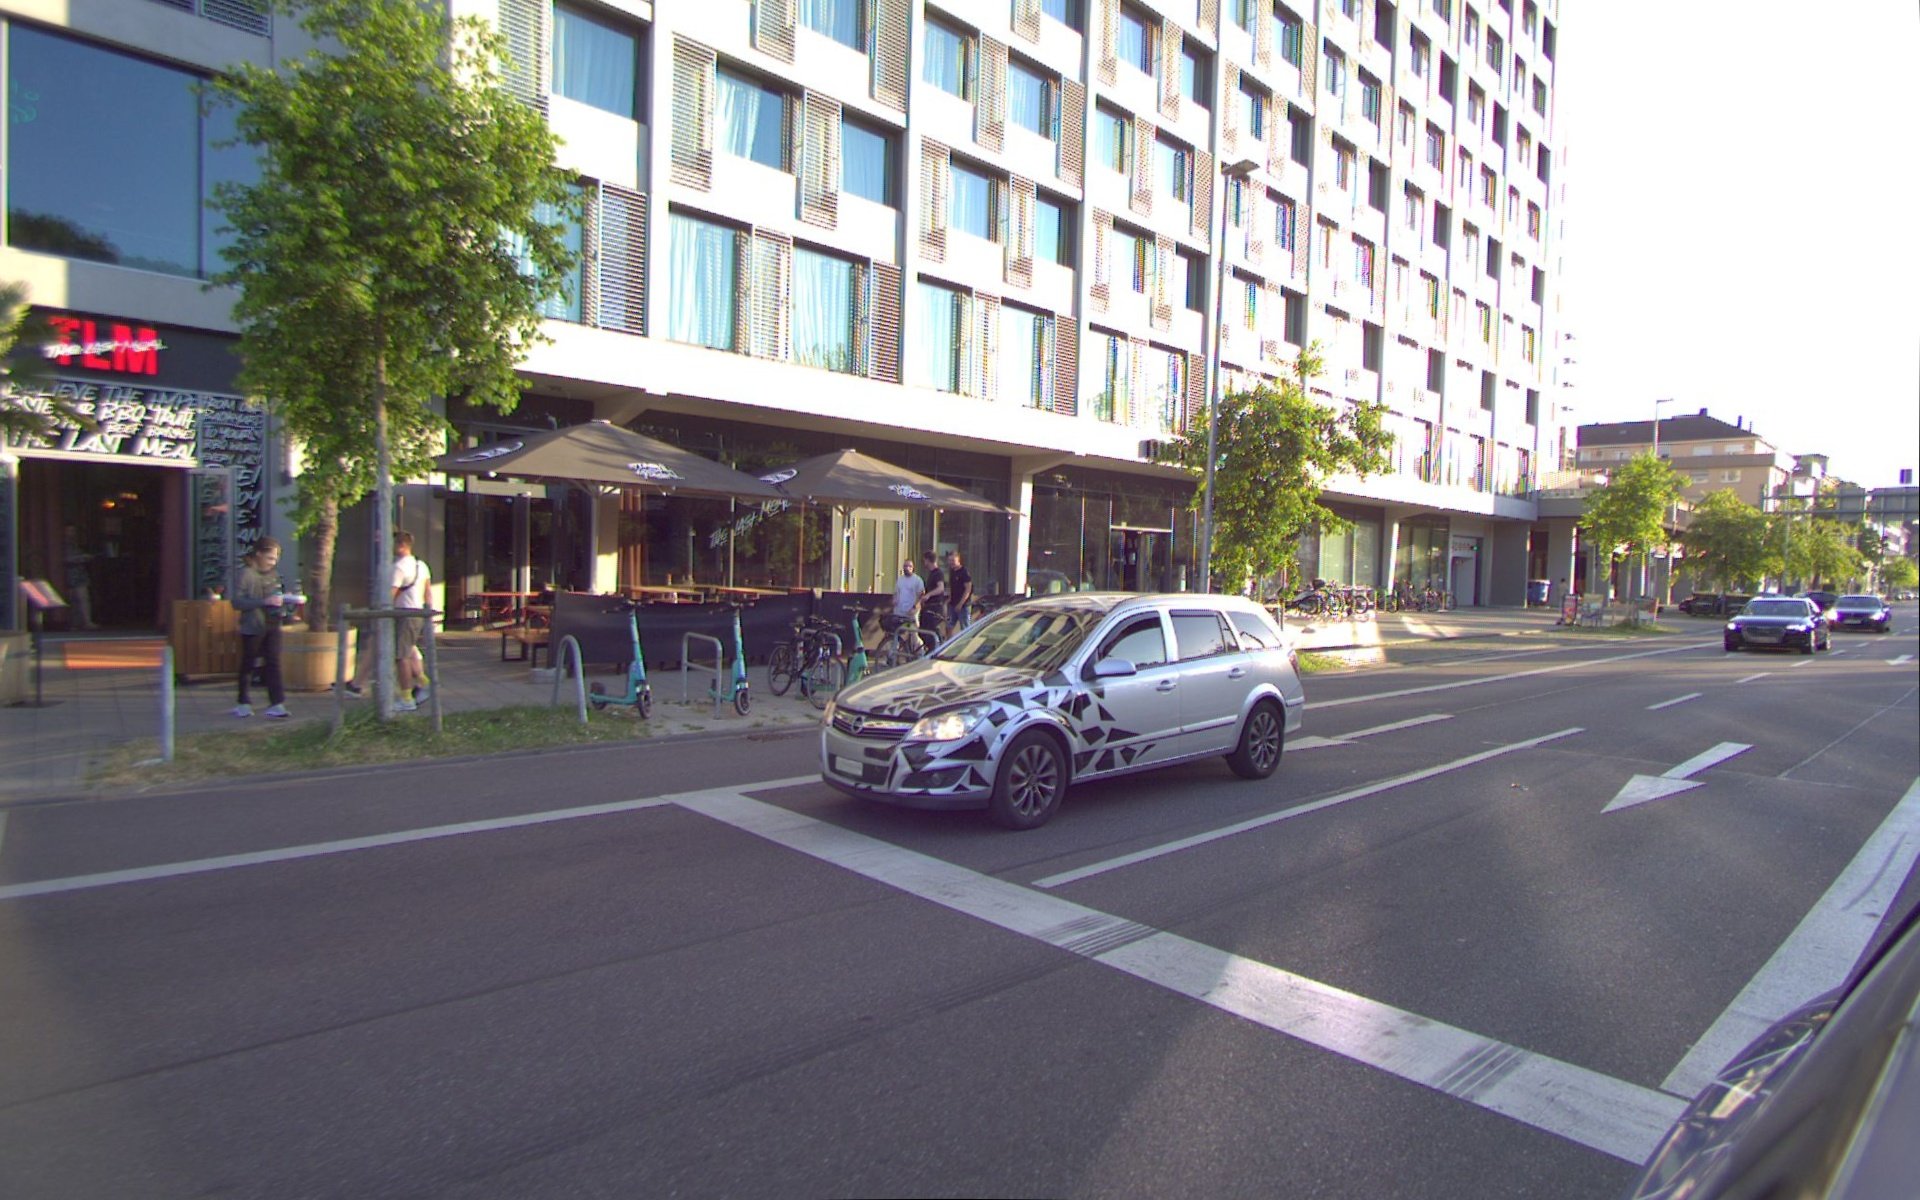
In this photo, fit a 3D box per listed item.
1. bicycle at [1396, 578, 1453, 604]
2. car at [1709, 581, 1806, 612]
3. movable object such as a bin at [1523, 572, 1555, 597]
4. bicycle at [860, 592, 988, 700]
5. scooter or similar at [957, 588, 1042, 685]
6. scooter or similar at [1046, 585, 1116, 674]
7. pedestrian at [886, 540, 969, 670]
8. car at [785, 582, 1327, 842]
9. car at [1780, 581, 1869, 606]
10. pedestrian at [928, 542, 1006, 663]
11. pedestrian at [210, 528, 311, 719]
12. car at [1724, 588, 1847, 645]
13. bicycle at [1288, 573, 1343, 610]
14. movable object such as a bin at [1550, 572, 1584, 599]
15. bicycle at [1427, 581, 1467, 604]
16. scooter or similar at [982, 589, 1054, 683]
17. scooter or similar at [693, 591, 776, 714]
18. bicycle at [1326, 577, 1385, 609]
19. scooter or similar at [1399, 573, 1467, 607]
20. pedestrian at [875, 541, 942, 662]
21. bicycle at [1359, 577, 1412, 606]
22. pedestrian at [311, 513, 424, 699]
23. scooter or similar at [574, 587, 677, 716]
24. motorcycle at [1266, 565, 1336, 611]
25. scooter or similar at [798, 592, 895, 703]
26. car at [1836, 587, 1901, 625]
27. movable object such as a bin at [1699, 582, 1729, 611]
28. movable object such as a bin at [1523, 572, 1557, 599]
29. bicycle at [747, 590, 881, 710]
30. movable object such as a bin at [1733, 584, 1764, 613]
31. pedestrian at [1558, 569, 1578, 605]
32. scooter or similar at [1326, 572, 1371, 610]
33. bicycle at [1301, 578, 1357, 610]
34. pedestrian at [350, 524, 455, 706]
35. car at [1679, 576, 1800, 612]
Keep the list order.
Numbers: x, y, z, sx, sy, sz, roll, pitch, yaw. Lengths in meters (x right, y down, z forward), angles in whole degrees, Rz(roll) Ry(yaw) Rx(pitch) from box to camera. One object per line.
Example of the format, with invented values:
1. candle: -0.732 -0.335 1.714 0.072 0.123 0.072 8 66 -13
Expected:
1. bicycle: 19.428 -0.385 42.361 2.015 0.969 0.611 5 4 41
2. car: 45.889 -0.221 58.331 3.926 1.433 1.748 4 4 9
3. movable object such as a bin: 31.962 -0.866 55.887 1.283 1.315 1.183 0 3 -44
4. bicycle: -0.507 0.563 13.430 0.598 1.196 1.850 0 5 -43
5. scooter or similar: 0.532 0.483 14.053 0.501 1.205 1.159 -2 6 -40
6. scooter or similar: 1.868 0.440 15.776 0.524 1.232 1.300 1 4 -19
7. pedestrian: -0.494 0.053 15.316 0.922 1.870 0.747 0 5 -34
8. car: 0.940 0.619 7.871 4.229 1.482 1.831 0 1 -42
9. car: 62.109 -0.457 72.754 4.528 1.470 1.811 3 3 7
10. pedestrian: 0.105 0.028 16.251 0.922 1.846 0.759 0 4 -34
11. pedestrian: -6.720 0.192 9.717 0.852 1.724 0.569 4 3 39
12. car: 22.028 0.391 26.953 4.203 1.413 1.913 0 1 -42
13. bicycle: 12.207 -0.308 34.777 1.602 1.168 0.604 5 4 35
14. movable object such as a bin: 32.963 -0.773 54.950 1.246 1.338 1.183 0 5 -44
15. bicycle: 20.742 -0.322 43.129 0.449 0.902 1.423 0 3 -43
16. scooter or similar: 0.831 0.500 14.816 0.521 1.228 1.134 -1 5 -27
17. scooter or similar: -2.546 0.556 11.364 0.539 1.238 1.066 1 4 -33
18. bicycle: 14.340 -0.275 36.769 0.556 1.021 1.888 0 5 -44
19. scooter or similar: 18.950 -0.409 40.578 0.610 1.197 2.376 0 4 -43
20. pedestrian: -0.814 0.011 15.962 0.762 1.833 0.621 0 5 -34
21. bicycle: 16.194 -0.328 38.544 1.701 0.998 0.542 6 4 44
22. pedestrian: -6.426 0.027 10.980 0.824 1.910 0.853 5 5 42
23. scooter or similar: -3.571 0.515 10.778 1.052 1.238 0.589 6 4 43
24. motorcycle: 11.518 -0.412 34.223 2.104 1.403 0.664 5 3 34
25. scooter or similar: -1.407 0.549 12.459 1.210 1.216 0.473 6 4 43
26. car: 36.030 0.209 40.108 1.858 1.413 4.210 1 1 43
27. movable object such as a bin: 37.707 -0.173 50.600 1.014 1.363 1.143 7 4 42
28. movable object such as a bin: 29.787 -0.745 51.964 1.262 1.345 1.106 0 4 -44
29. bicycle: -1.784 0.558 12.178 1.794 1.208 0.559 6 4 43
30. movable object such as a bin: 38.720 -0.092 49.697 1.084 1.317 1.341 6 4 40
31. pedestrian: 28.829 -0.613 47.986 0.576 1.638 0.633 6 4 44
32. scooter or similar: 13.601 -0.317 35.449 1.268 1.248 0.599 6 4 43
33. bicycle: 12.865 -0.212 35.326 1.701 0.998 0.542 6 4 44
34. pedestrian: -5.821 0.127 10.582 0.576 1.807 0.816 5 5 43
35. car: 41.390 -0.365 53.820 4.591 1.526 1.936 4 4 8
